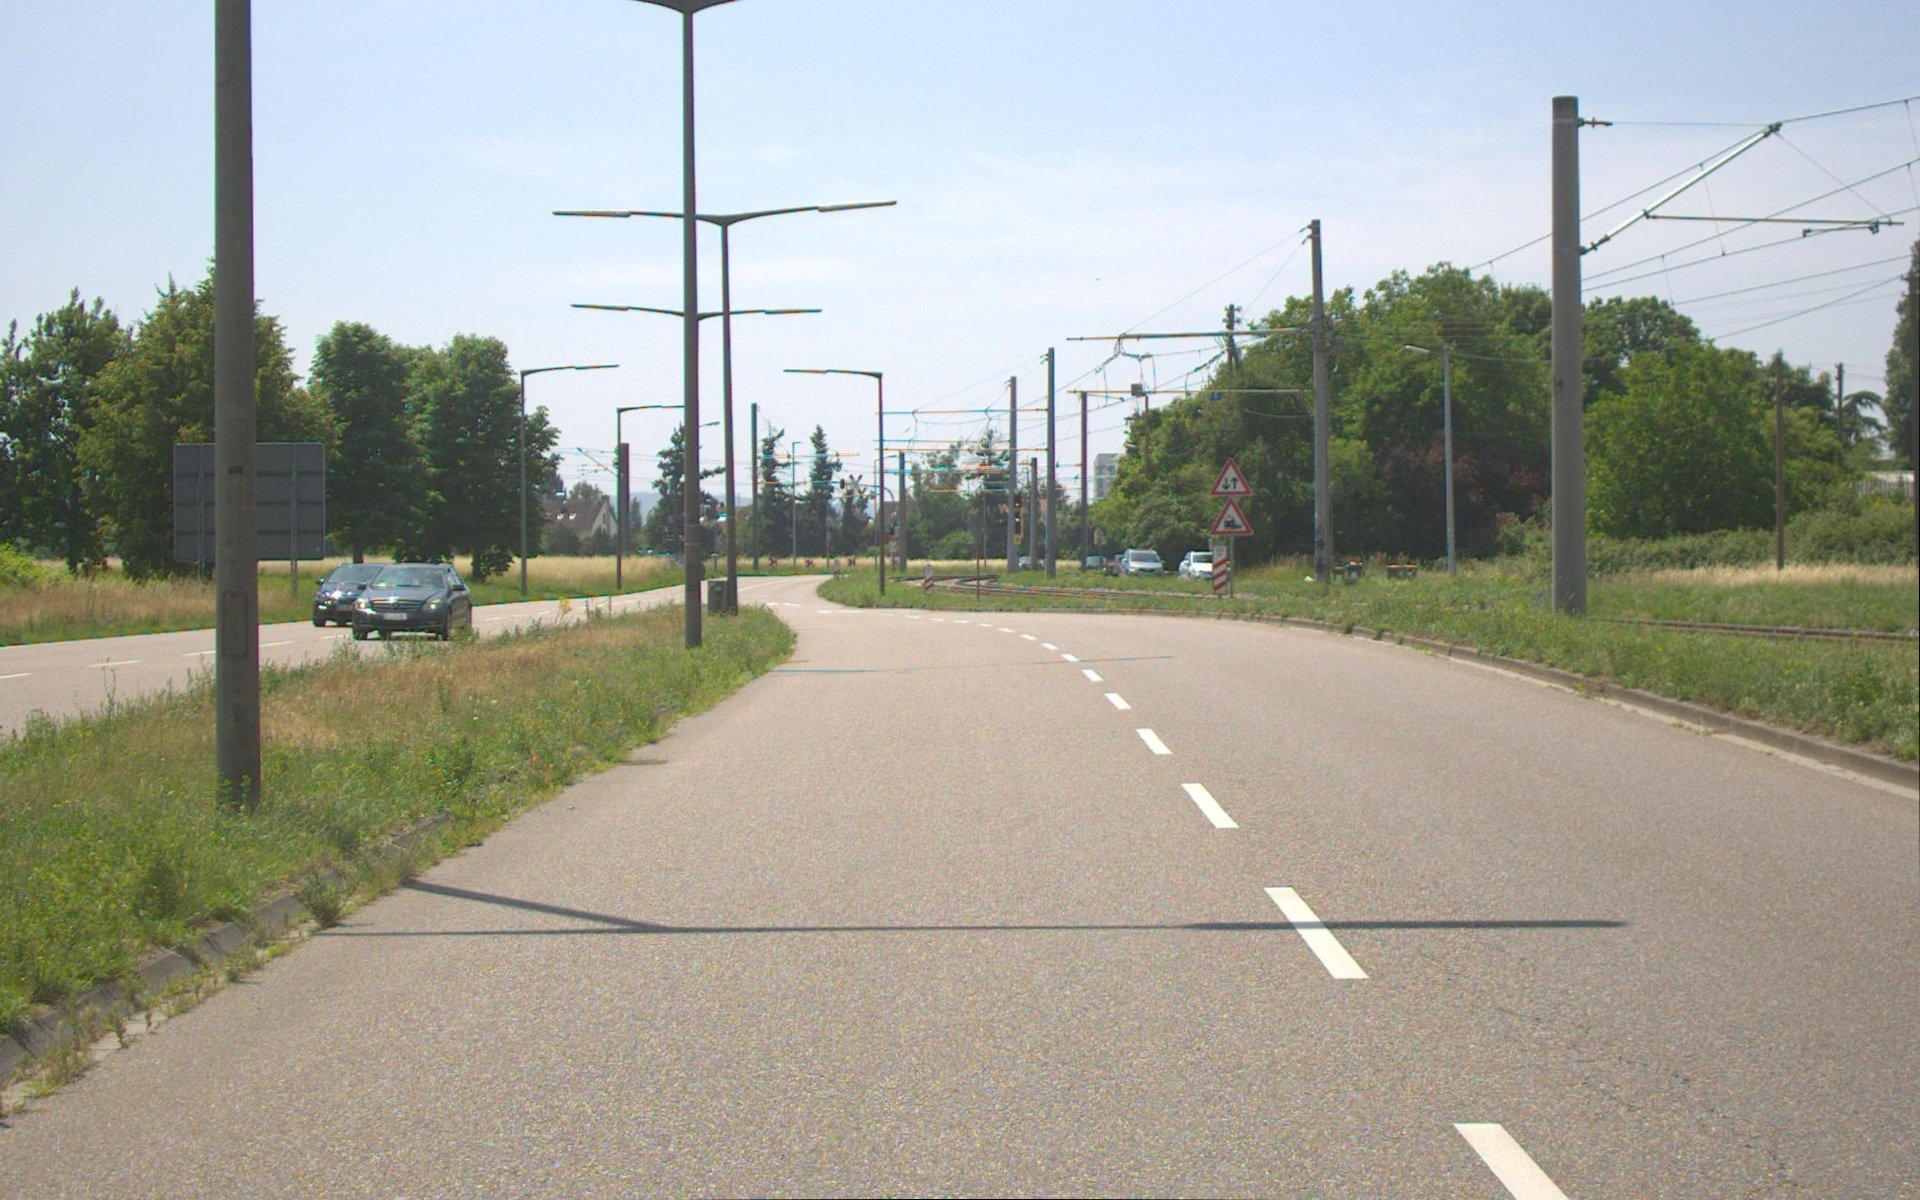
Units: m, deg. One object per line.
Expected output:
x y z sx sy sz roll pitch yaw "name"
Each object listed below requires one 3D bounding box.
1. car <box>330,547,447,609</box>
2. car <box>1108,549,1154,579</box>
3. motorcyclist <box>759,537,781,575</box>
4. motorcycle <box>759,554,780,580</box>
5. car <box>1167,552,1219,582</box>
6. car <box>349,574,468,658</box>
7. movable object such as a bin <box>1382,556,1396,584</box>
-12.938 -0.518 78.094 1.993 1.355 4.666 -1 1 -1 "car"
8.173 -1.720 164.265 1.671 1.392 3.651 1 0 -5 "car"
-12.074 -2.790 218.341 1.231 2.343 1.106 1 0 2 "motorcyclist"
-12.087 -2.086 218.311 0.989 1.575 3.400 1 0 2 "motorcycle"
9.554 -1.349 141.068 1.562 1.175 3.080 -1 1 -7 "car"
-10.348 0.273 64.717 1.692 1.486 4.000 0 1 -2 "car"
16.712 -1.171 133.920 0.525 1.046 0.499 -1 1 6 "movable object such as a bin"
